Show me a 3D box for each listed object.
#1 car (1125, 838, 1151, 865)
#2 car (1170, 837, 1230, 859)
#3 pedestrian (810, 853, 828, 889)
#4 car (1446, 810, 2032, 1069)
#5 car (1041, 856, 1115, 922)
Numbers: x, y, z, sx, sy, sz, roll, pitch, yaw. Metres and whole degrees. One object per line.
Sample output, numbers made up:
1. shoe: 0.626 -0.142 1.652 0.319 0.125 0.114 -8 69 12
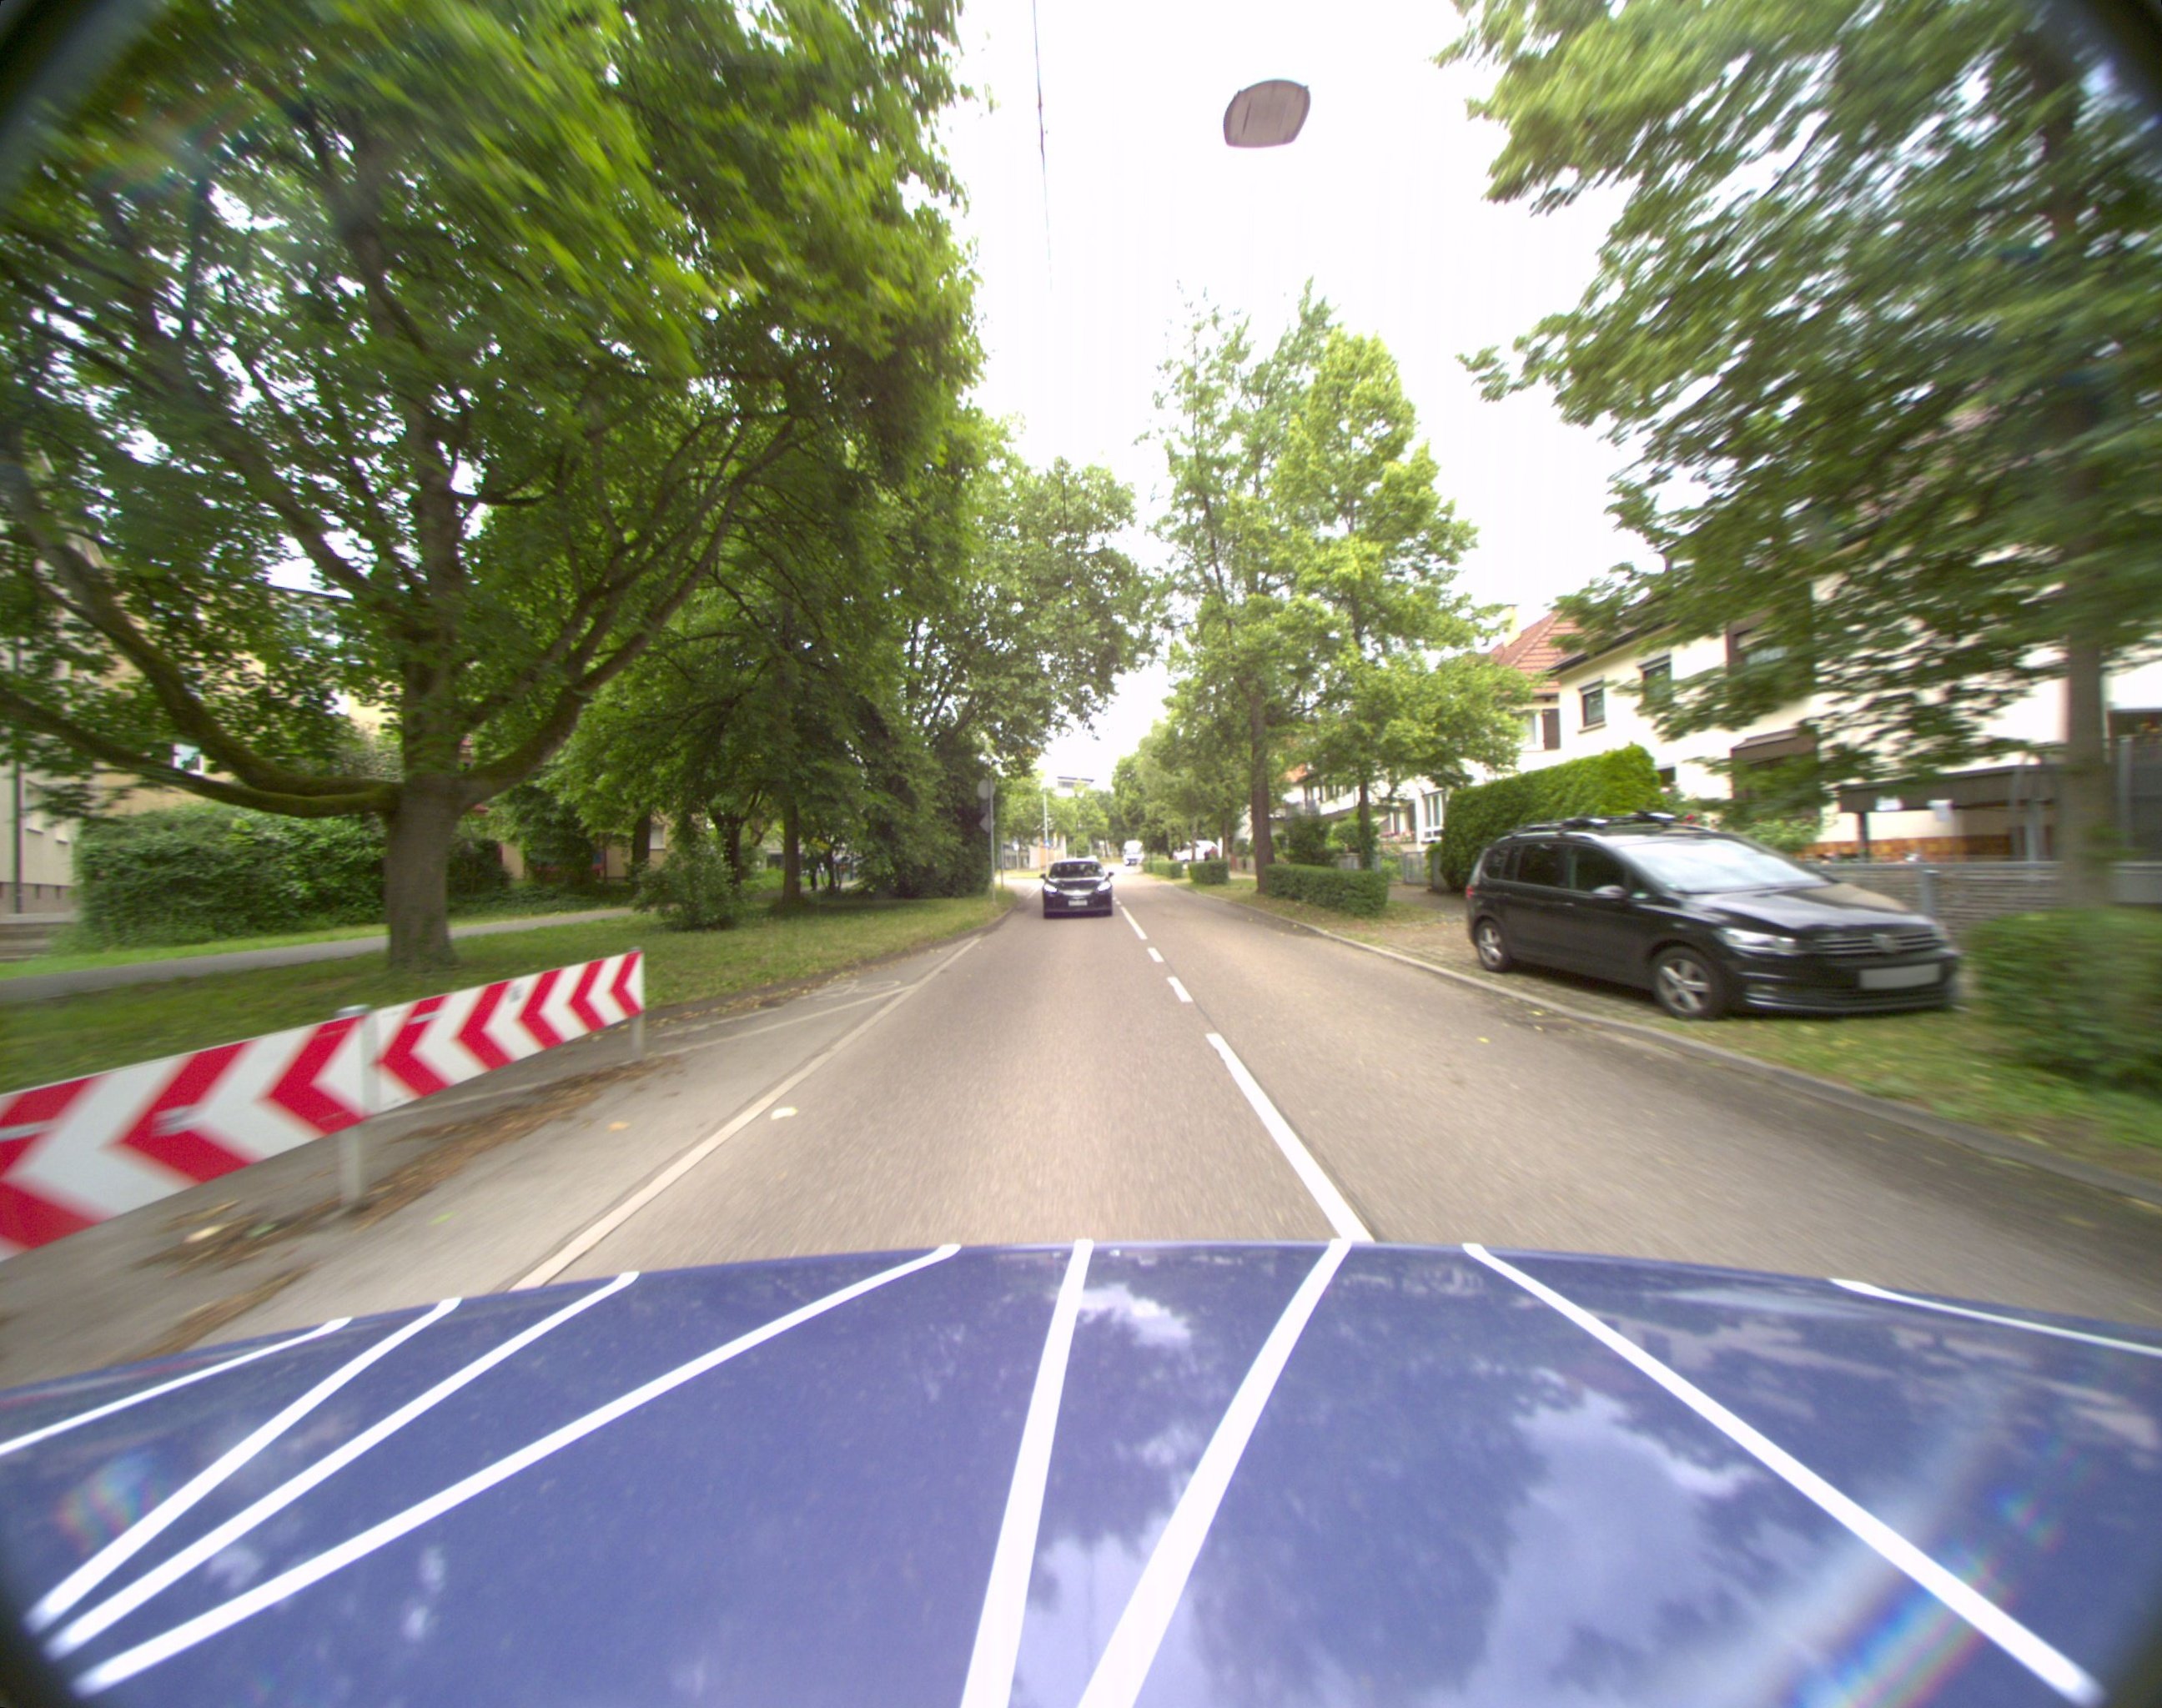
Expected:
1. car: 7.450 -0.383 98.991 2.433 3.256 7.797 -1 1 11
2. car: 13.092 -0.666 83.857 6.377 2.334 1.973 -1 0 -21
3. pedestrian: -12.064 0.767 34.972 0.650 1.651 0.649 -1 1 -10
4. car: 5.731 0.602 7.584 1.830 1.743 4.452 -2 0 -3
5. car: -0.047 0.878 21.232 1.799 1.552 4.471 -2 0 1
